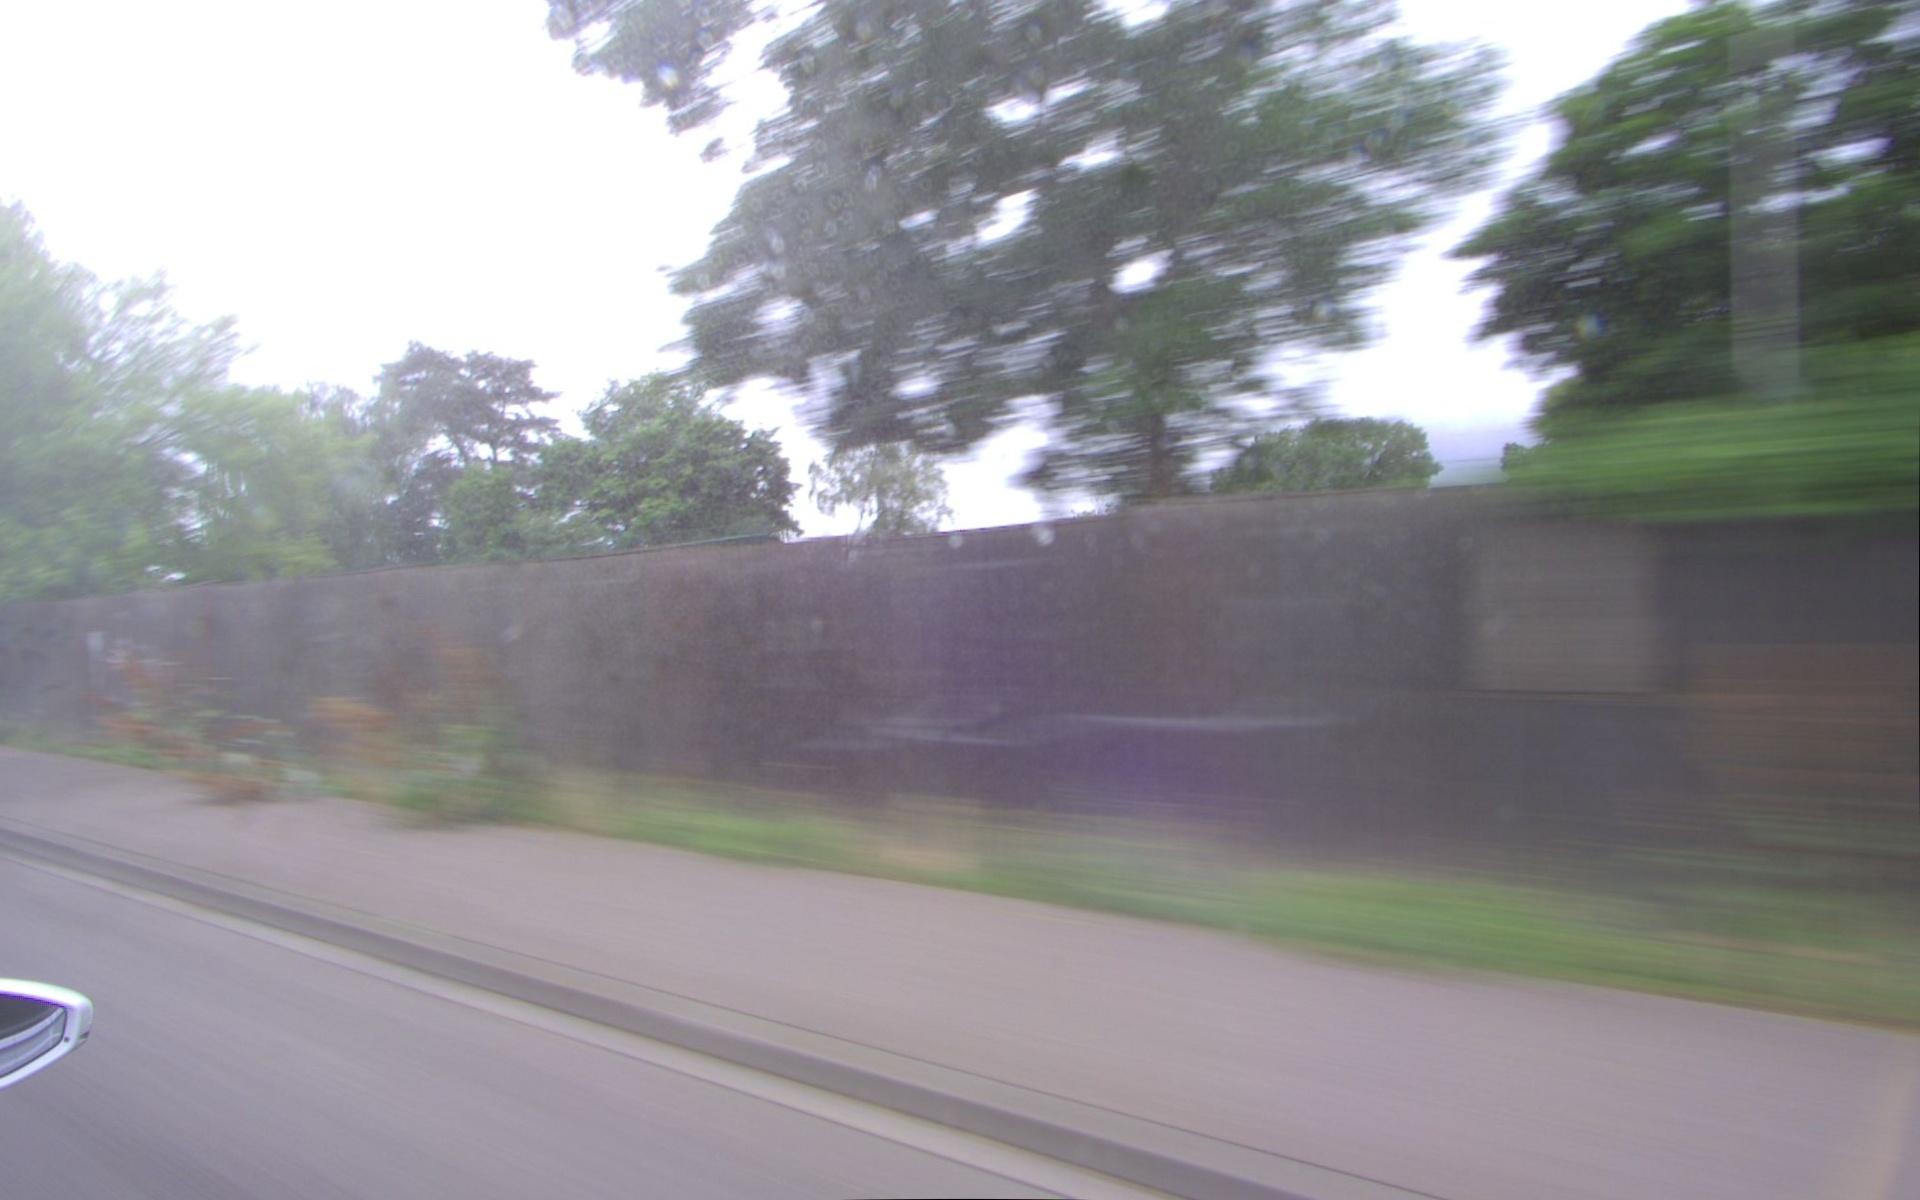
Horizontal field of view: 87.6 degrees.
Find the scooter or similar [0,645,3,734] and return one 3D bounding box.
[{"bbox_3d":[-15.513,1.349,15.338,2.319,1.329,0.690,-1,-1,32],"label":"scooter or similar"}]
